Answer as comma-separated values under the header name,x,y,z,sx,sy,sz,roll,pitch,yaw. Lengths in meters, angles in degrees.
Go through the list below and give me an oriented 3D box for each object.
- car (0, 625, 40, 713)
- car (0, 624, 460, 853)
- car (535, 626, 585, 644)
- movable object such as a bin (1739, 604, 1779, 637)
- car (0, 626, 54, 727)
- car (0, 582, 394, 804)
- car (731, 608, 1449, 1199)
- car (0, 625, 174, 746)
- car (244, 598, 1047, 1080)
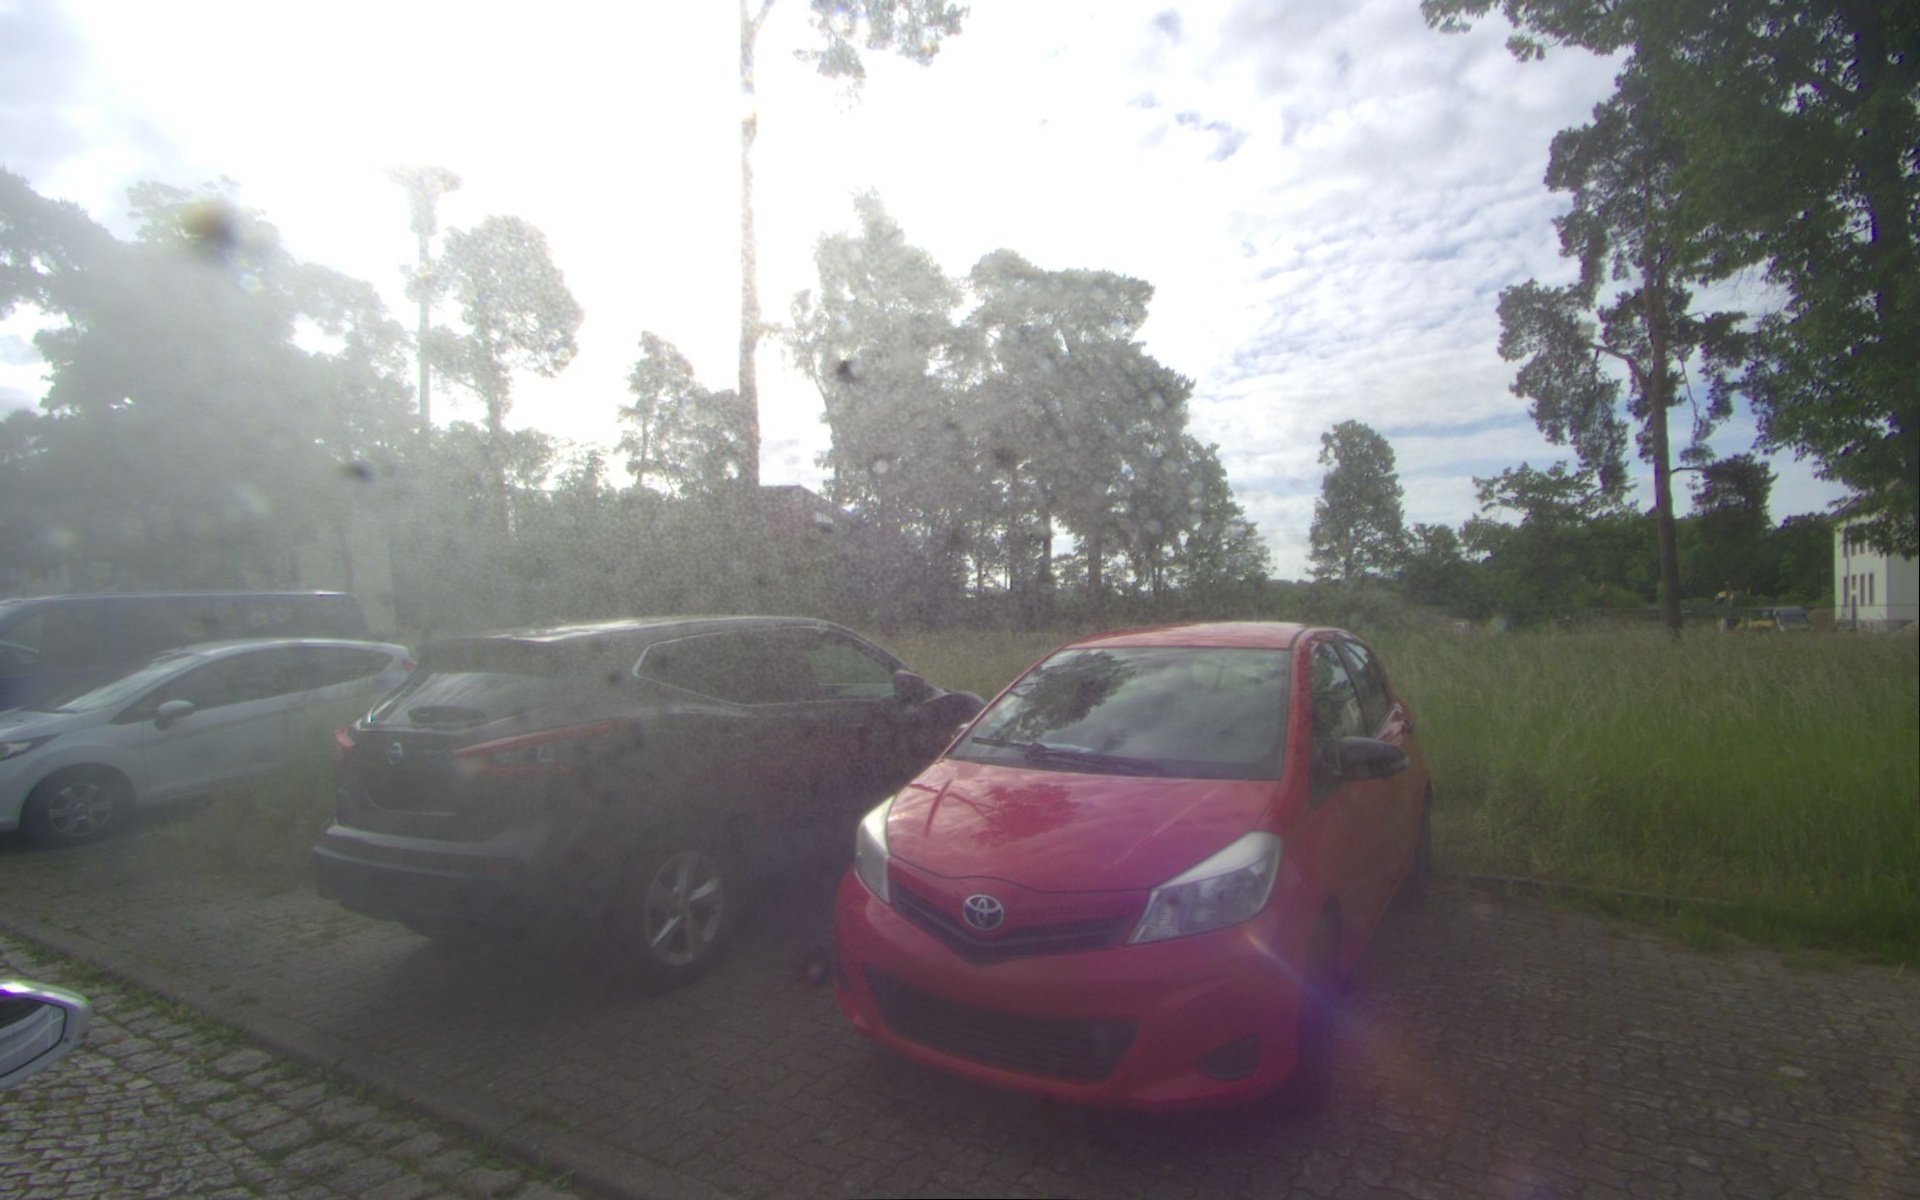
name,x,y,z,sx,sy,sz,roll,pitch,yaw
car,-17.901,1.226,16.379,1.732,1.492,3.855,-1,1,30
car,-6.763,1.025,8.811,1.814,1.492,3.855,-1,0,30
car,-36.042,3.157,90.275,1.628,1.439,3.940,-1,-4,34
movable object such as a bin,49.832,1.270,62.454,1.664,2.040,3.214,-1,-1,44
car,-15.845,1.195,14.374,1.732,1.492,3.855,-1,1,30
car,-8.818,0.829,10.353,1.974,1.972,4.799,-1,1,30
car,1.037,0.827,4.570,1.740,1.505,3.997,-1,0,32
car,-13.164,1.152,13.345,1.732,1.492,3.855,-1,1,30
car,-1.237,0.830,5.707,1.795,1.620,4.253,-1,0,30
